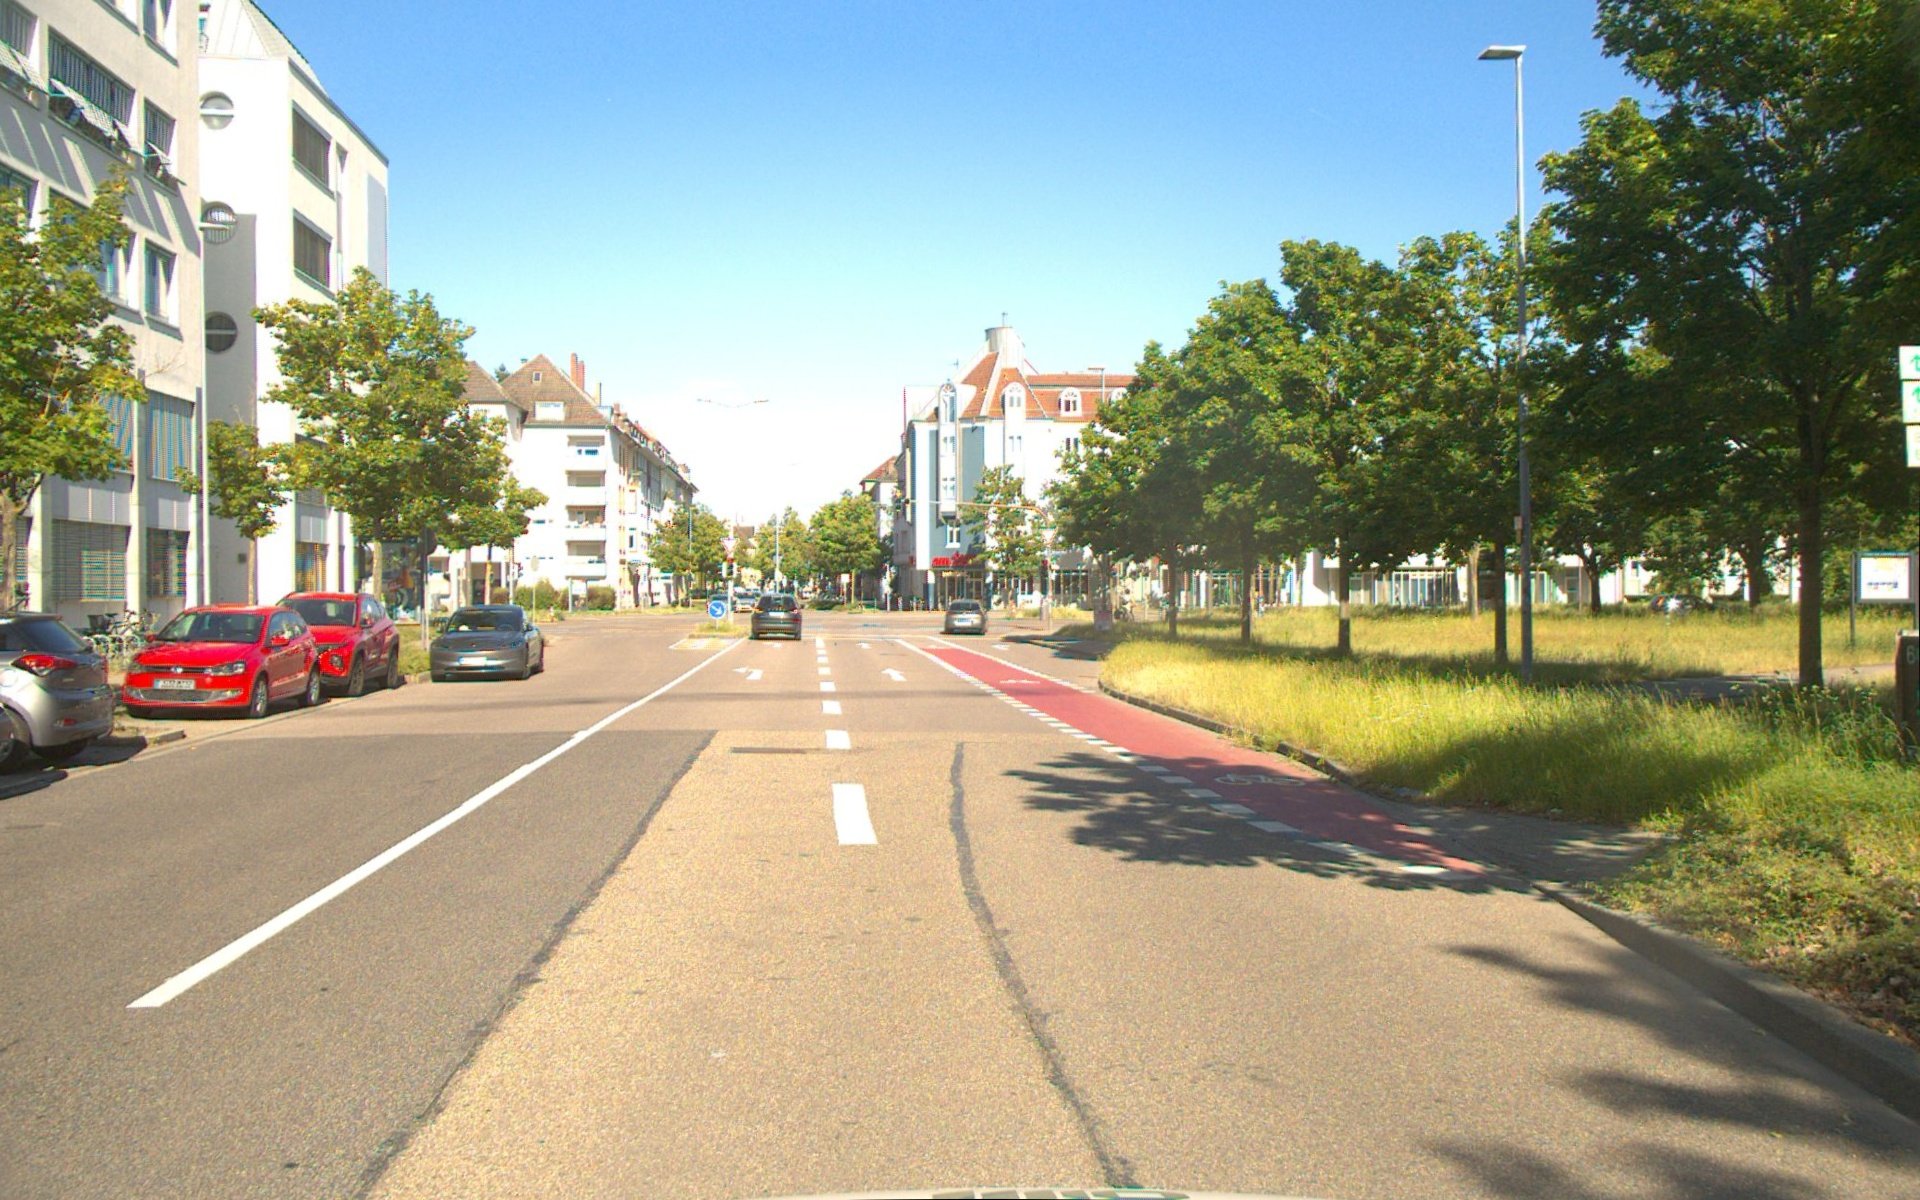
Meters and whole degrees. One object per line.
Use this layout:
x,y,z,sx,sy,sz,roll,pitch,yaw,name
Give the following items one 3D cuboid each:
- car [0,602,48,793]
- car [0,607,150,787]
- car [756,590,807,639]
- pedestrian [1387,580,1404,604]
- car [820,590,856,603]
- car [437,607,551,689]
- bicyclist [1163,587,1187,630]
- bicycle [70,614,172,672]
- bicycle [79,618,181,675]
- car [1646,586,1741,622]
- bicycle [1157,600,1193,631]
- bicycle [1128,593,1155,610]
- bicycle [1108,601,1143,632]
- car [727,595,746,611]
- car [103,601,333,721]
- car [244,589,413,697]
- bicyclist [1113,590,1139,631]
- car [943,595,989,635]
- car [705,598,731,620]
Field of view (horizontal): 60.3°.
-9.487,0.686,12.353,4.304,1.457,1.690,2,0,-9,car
-10.123,0.825,15.348,4.306,1.565,1.689,2,0,-10,car
-6.538,0.506,60.240,1.721,1.656,4.470,2,0,-7,car
31.612,-0.586,120.060,0.971,1.753,0.653,-1,0,-7,pedestrian
-12.150,-0.311,164.706,3.503,1.245,1.726,0,-1,-11,car
-9.445,0.918,33.827,1.657,1.494,4.538,-1,0,-8,car
10.005,0.399,76.952,0.776,1.993,1.008,-1,0,32,bicyclist
-16.671,0.846,32.896,1.730,1.087,0.556,-1,0,2,bicycle
-16.870,0.946,33.645,1.751,1.087,0.621,-1,0,2,bicycle
35.295,0.185,79.609,3.876,1.628,1.673,-1,0,-8,car
10.013,0.719,76.963,0.776,1.371,2.257,-1,0,32,bicycle
13.229,0.103,120.453,1.830,1.203,0.561,-1,0,-10,bicycle
7.699,0.749,76.701,0.776,1.371,2.074,-1,0,32,bicycle
-23.314,0.306,172.868,1.719,1.583,3.727,2,0,-4,car
-10.016,0.771,22.642,1.655,1.457,3.867,2,0,-5,car
-10.539,0.676,27.909,1.656,1.635,4.303,2,0,-7,car
7.721,0.497,76.756,0.776,1.856,1.133,-1,0,32,bicyclist
0.293,0.641,71.660,1.652,1.605,3.873,2,0,4,car
-18.738,0.686,128.155,1.719,1.583,3.727,2,0,-4,car
